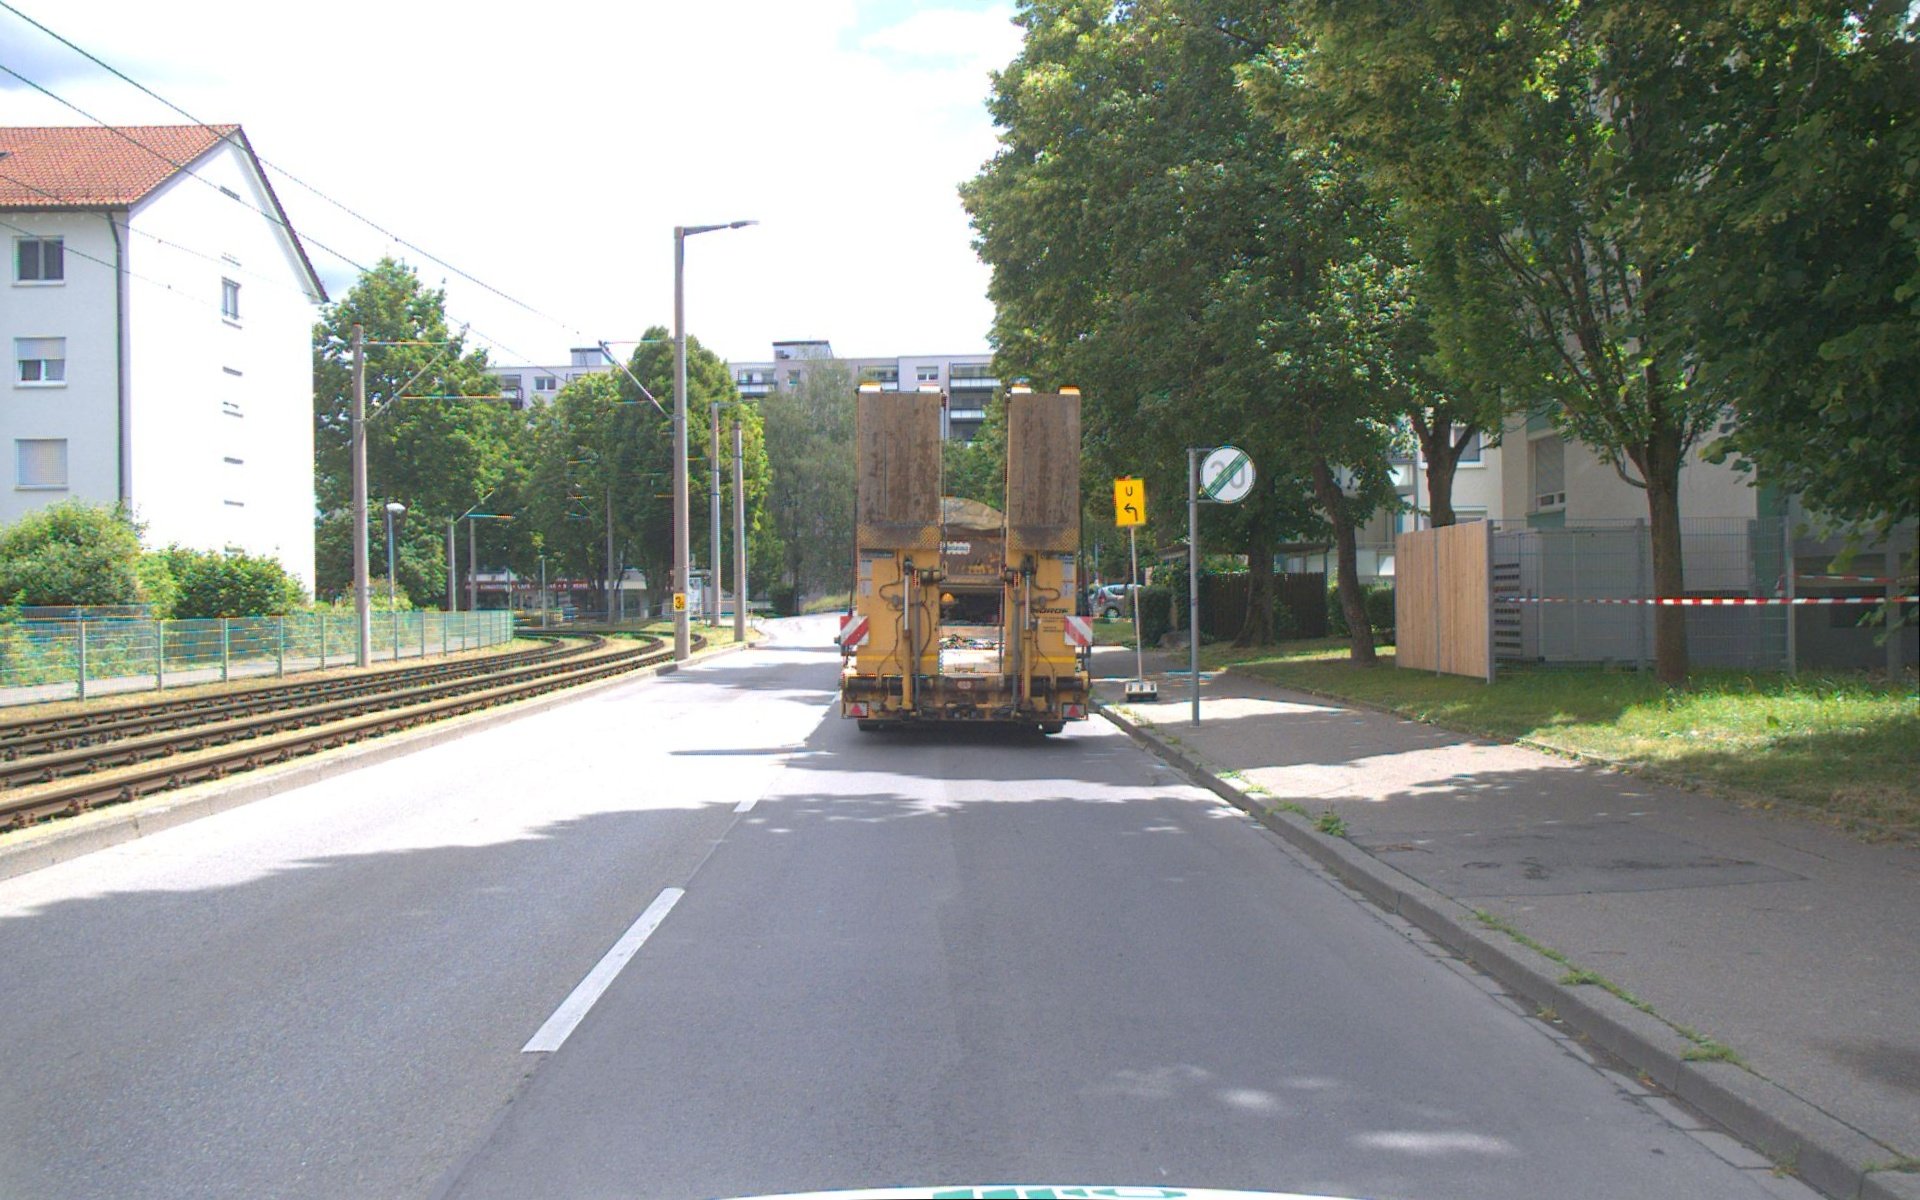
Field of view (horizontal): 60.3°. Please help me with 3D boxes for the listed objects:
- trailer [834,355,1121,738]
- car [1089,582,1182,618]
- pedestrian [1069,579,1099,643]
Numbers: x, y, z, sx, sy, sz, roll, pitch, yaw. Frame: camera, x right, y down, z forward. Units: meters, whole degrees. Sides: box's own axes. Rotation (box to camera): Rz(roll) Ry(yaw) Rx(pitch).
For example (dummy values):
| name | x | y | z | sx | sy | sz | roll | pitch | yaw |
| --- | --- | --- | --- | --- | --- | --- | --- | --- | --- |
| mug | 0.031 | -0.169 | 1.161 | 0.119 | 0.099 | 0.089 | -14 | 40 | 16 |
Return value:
| name | x | y | z | sx | sy | sz | roll | pitch | yaw |
| --- | --- | --- | --- | --- | --- | --- | --- | --- | --- |
| trailer | -0.020 | -0.545 | 22.364 | 2.770 | 3.709 | 12.349 | 1 | 0 | -2 |
| car | 8.051 | 0.012 | 76.146 | 3.918 | 1.588 | 1.754 | 1 | 0 | -13 |
| pedestrian | 3.414 | 0.298 | 45.738 | 0.703 | 1.736 | 0.766 | -2 | 0 | -1 |
